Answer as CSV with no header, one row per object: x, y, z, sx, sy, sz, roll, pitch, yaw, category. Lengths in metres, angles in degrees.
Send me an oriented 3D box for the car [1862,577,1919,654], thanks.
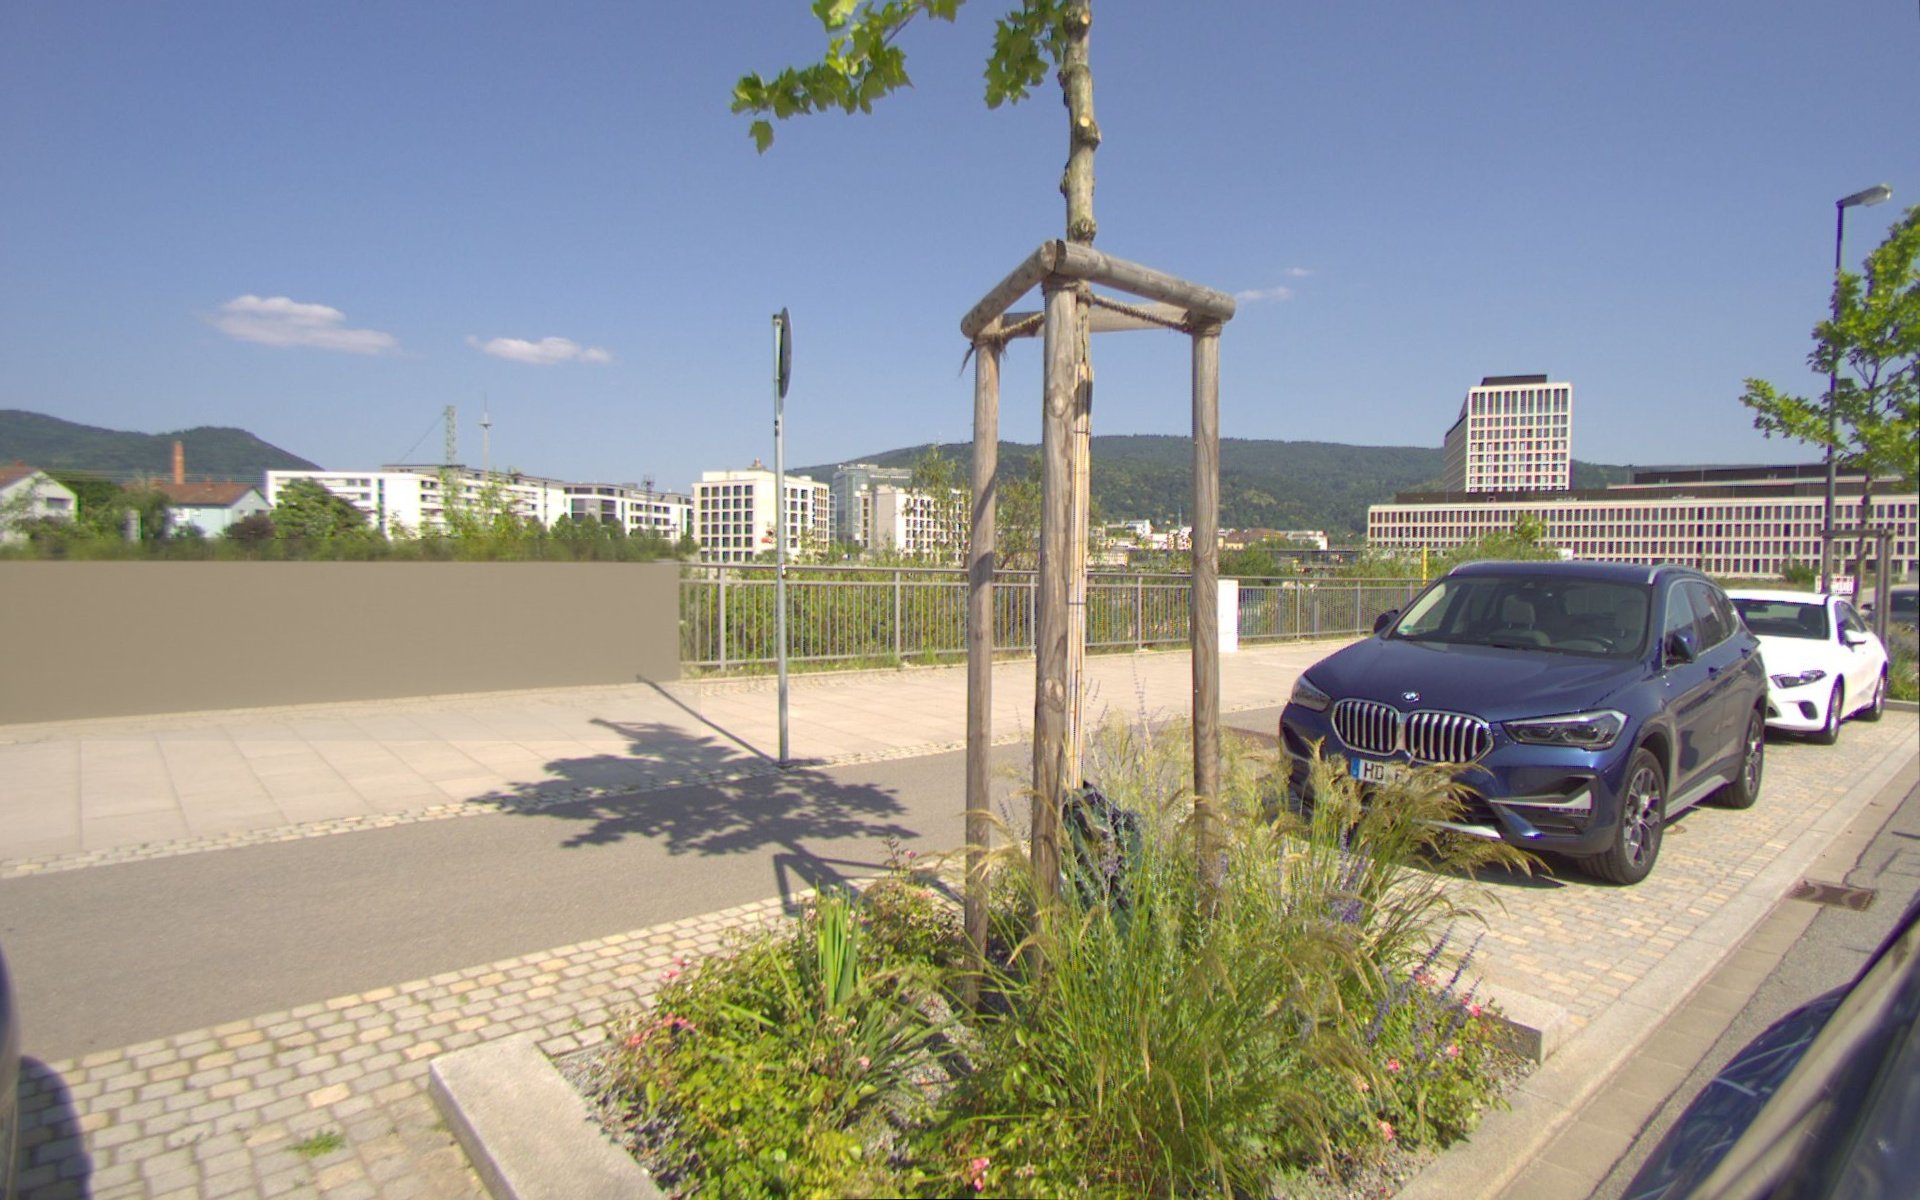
20.242,0.308,20.958,3.849,1.449,1.808,-1,5,-41,car

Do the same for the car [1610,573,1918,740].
8.856,0.458,11.021,4.194,1.390,1.711,-1,5,-39,car

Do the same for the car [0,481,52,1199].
-2.820,0.608,0.500,3.485,1.574,1.585,0,4,-41,car

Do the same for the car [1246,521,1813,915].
3.801,0.421,6.418,4.197,1.703,1.807,-1,4,-41,car
